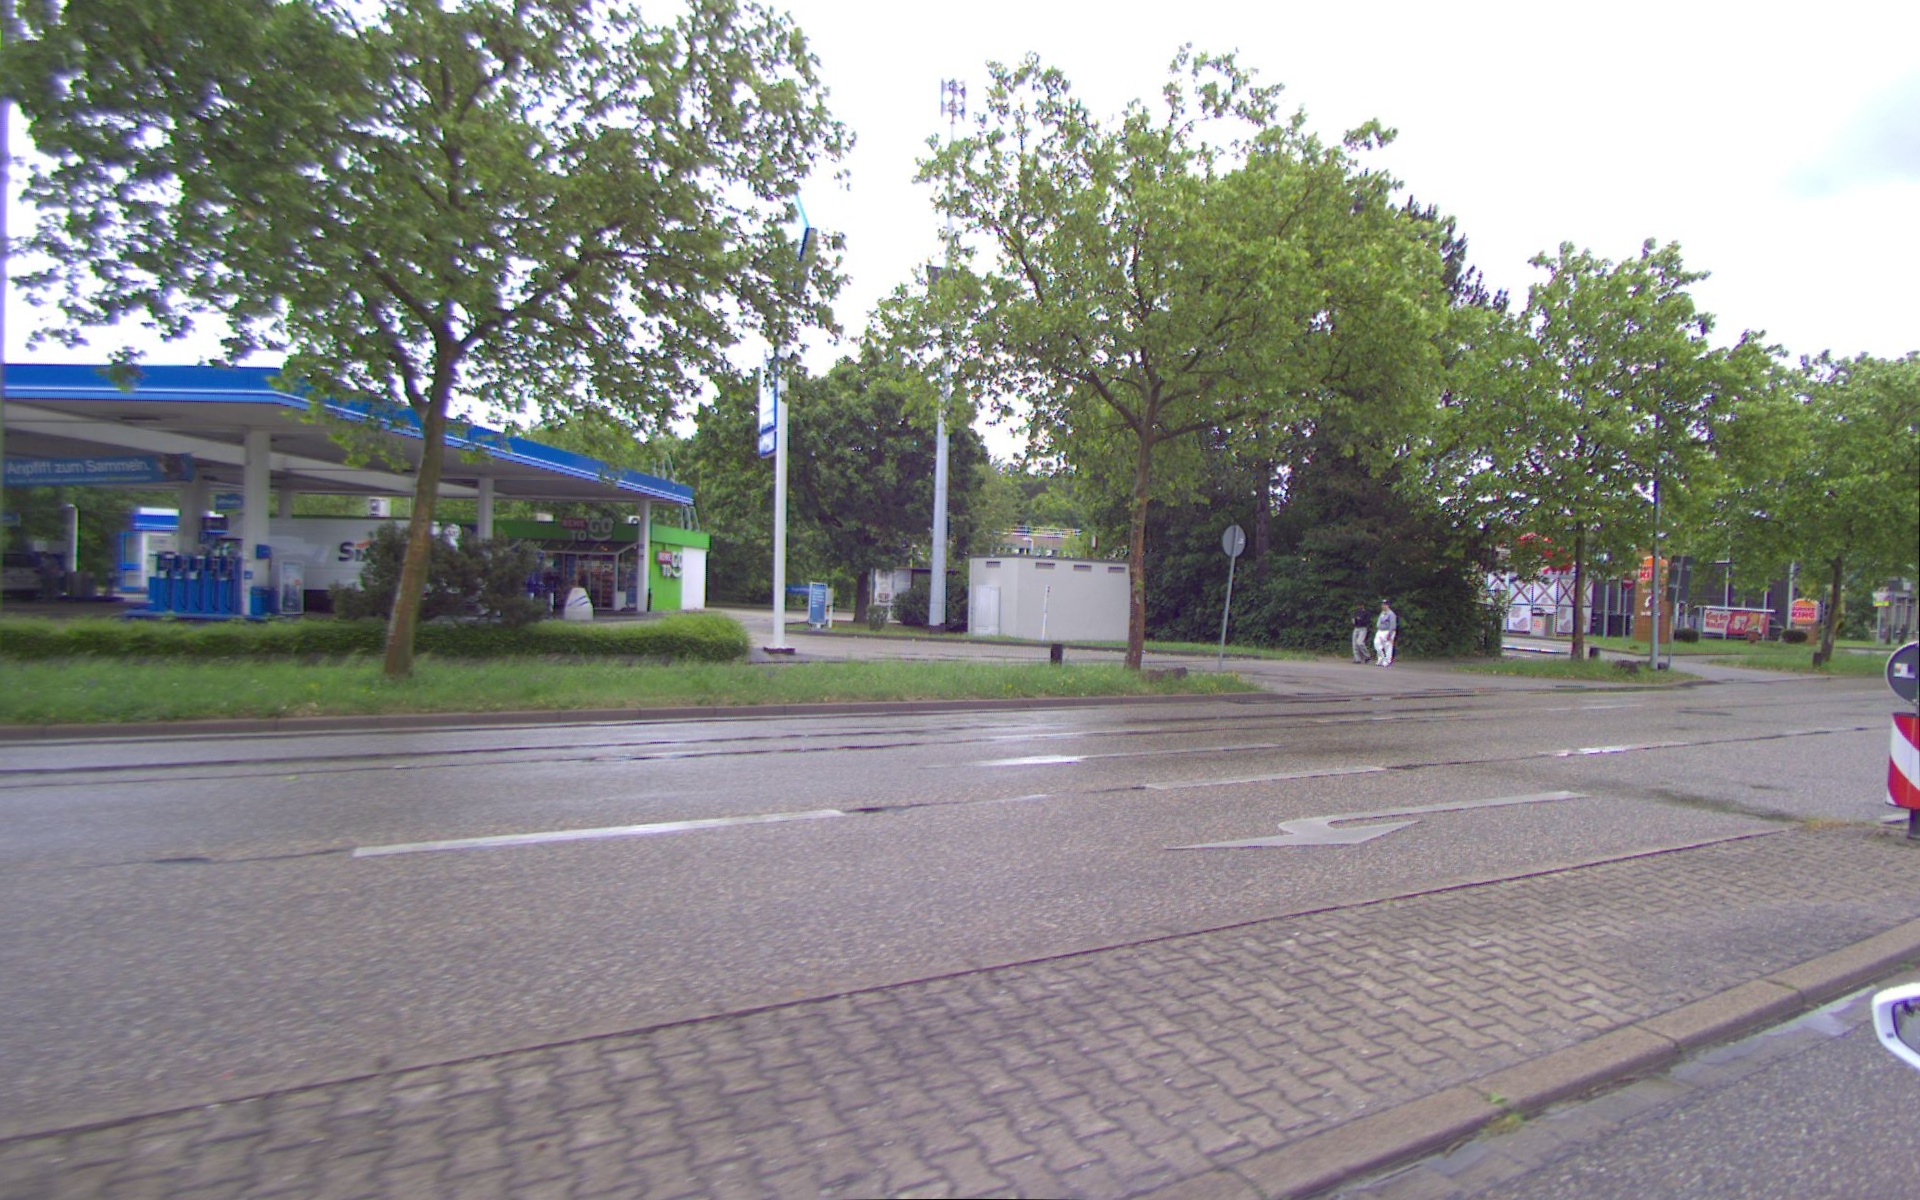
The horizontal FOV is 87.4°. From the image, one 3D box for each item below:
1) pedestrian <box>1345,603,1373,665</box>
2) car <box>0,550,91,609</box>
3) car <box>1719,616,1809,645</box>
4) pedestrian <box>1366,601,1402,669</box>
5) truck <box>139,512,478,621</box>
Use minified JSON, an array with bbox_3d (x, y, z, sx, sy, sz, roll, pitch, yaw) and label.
[{"bbox_3d":[11.095,0.949,27.935,0.534,1.705,0.509,1,0,-32],"label":"pedestrian"},{"bbox_3d":[-30.936,-0.692,32.477,4.046,1.832,1.946,2,1,2],"label":"car"},{"bbox_3d":[39.518,1.498,49.447,1.273,1.171,3.164,1,3,-26],"label":"car"},{"bbox_3d":[11.541,0.941,27.343,0.573,1.790,0.665,2,1,-11],"label":"pedestrian"},{"bbox_3d":[-16.987,-0.846,26.384,7.714,2.711,2.156,0,0,4],"label":"truck"}]
